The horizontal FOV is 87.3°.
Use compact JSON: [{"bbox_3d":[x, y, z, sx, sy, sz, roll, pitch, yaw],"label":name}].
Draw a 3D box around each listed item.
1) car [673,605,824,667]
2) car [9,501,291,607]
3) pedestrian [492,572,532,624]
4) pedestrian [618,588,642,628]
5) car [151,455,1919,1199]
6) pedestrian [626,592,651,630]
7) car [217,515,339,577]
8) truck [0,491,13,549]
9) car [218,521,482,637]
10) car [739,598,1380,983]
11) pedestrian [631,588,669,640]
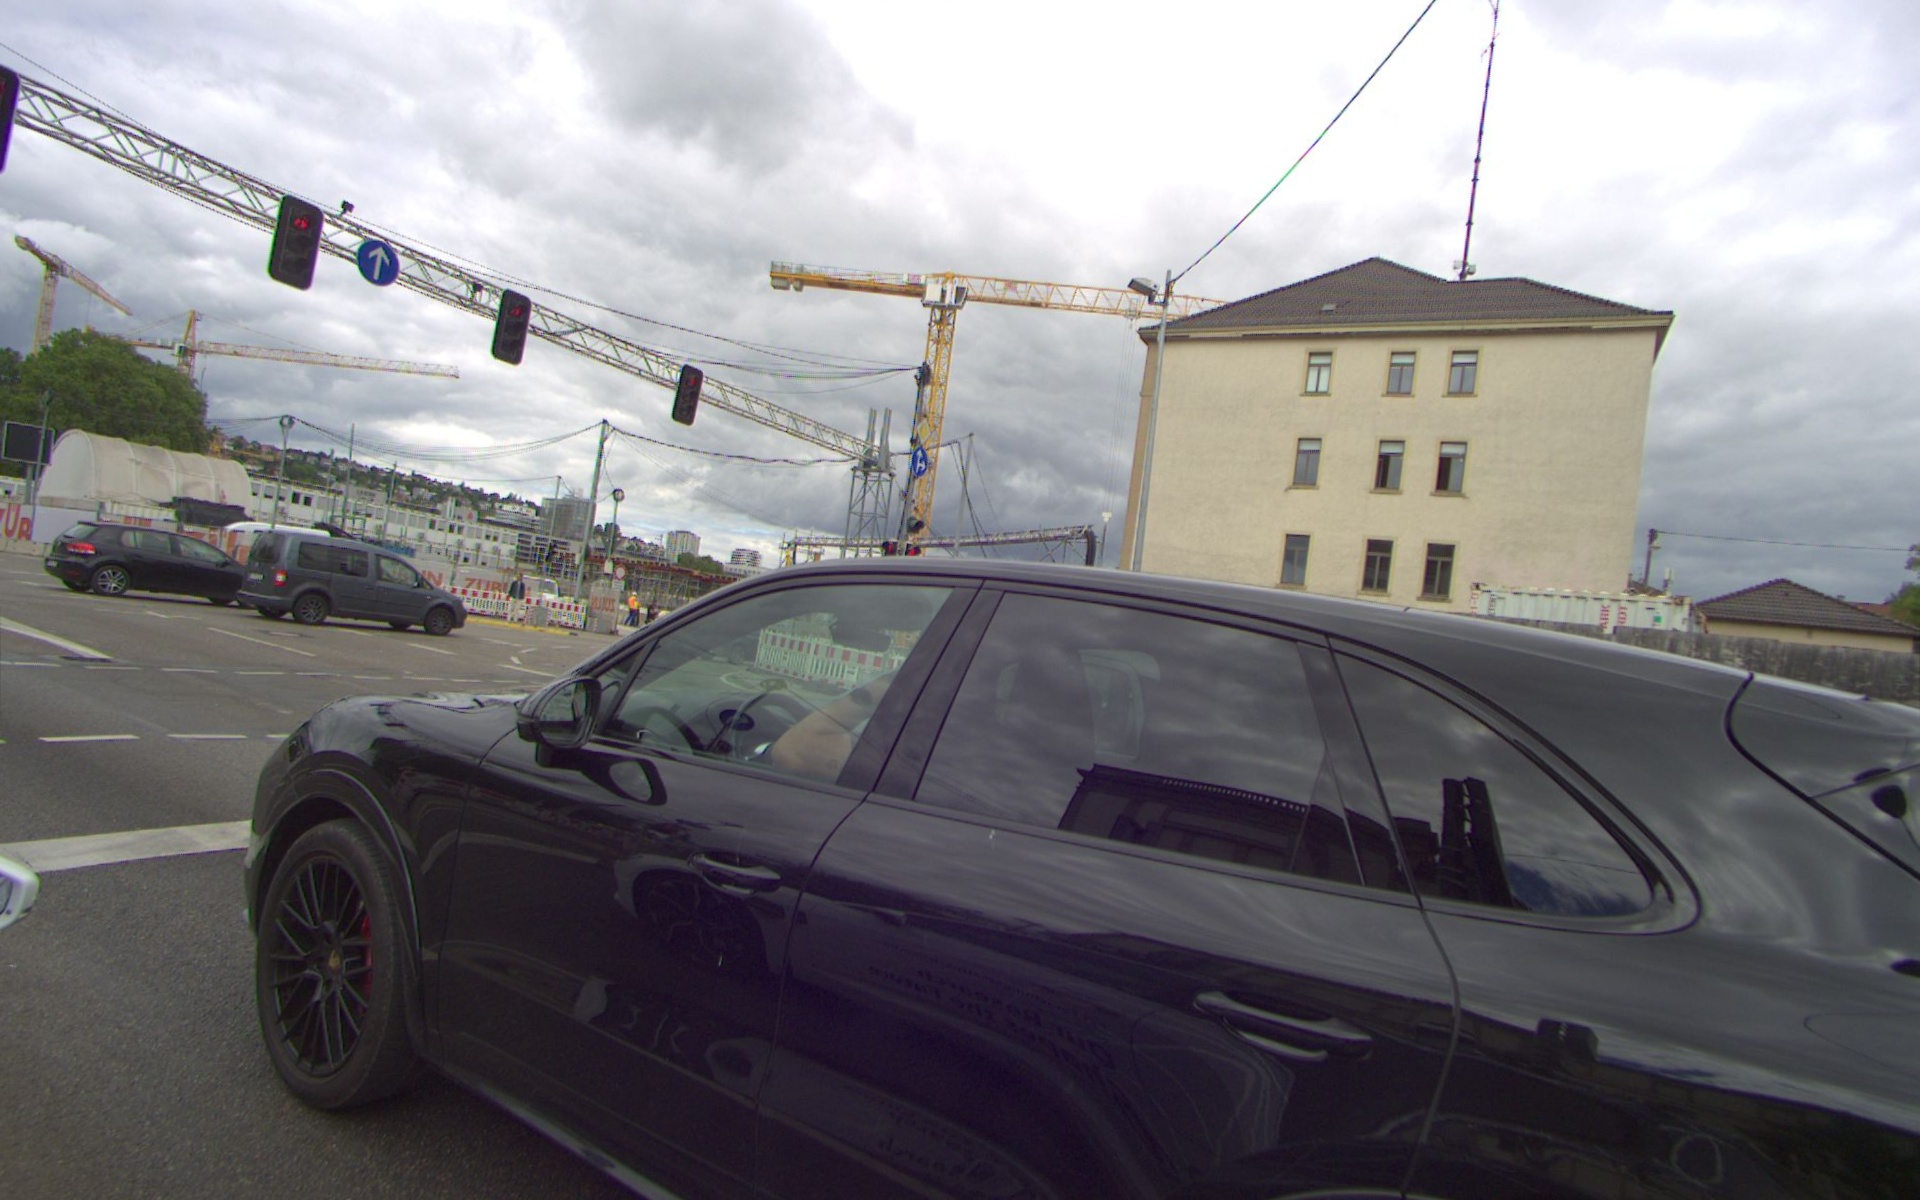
[{"bbox_3d":[-7.019,1.228,33.676,4.479,1.483,1.976,9,-3,-43],"label":"car"},{"bbox_3d":[-17.028,-0.914,21.389,1.965,1.565,4.118,6,-2,28],"label":"car"},{"bbox_3d":[-17.435,-0.074,39.154,1.040,1.869,0.781,8,-1,-42],"label":"pedestrian"},{"bbox_3d":[-17.642,0.441,53.820,0.855,2.037,0.677,6,-1,44],"label":"pedestrian"},{"bbox_3d":[-0.001,0.688,2.712,4.505,1.687,1.996,6,-2,34],"label":"car"},{"bbox_3d":[-17.518,0.594,54.766,0.850,1.938,0.680,7,-1,26],"label":"pedestrian"},{"bbox_3d":[-29.526,-2.330,43.637,3.976,2.037,1.976,9,-2,-43],"label":"car"},{"bbox_3d":[-55.564,-4.836,53.973,2.322,3.182,6.613,7,-2,9],"label":"truck"},{"bbox_3d":[-12.910,-0.375,21.572,1.967,1.826,4.279,6,-2,31],"label":"car"},{"bbox_3d":[0.580,0.996,6.548,3.587,1.527,1.825,6,-2,33],"label":"car"},{"bbox_3d":[-13.012,0.619,42.259,1.015,2.037,1.047,7,-1,3],"label":"pedestrian"}]
